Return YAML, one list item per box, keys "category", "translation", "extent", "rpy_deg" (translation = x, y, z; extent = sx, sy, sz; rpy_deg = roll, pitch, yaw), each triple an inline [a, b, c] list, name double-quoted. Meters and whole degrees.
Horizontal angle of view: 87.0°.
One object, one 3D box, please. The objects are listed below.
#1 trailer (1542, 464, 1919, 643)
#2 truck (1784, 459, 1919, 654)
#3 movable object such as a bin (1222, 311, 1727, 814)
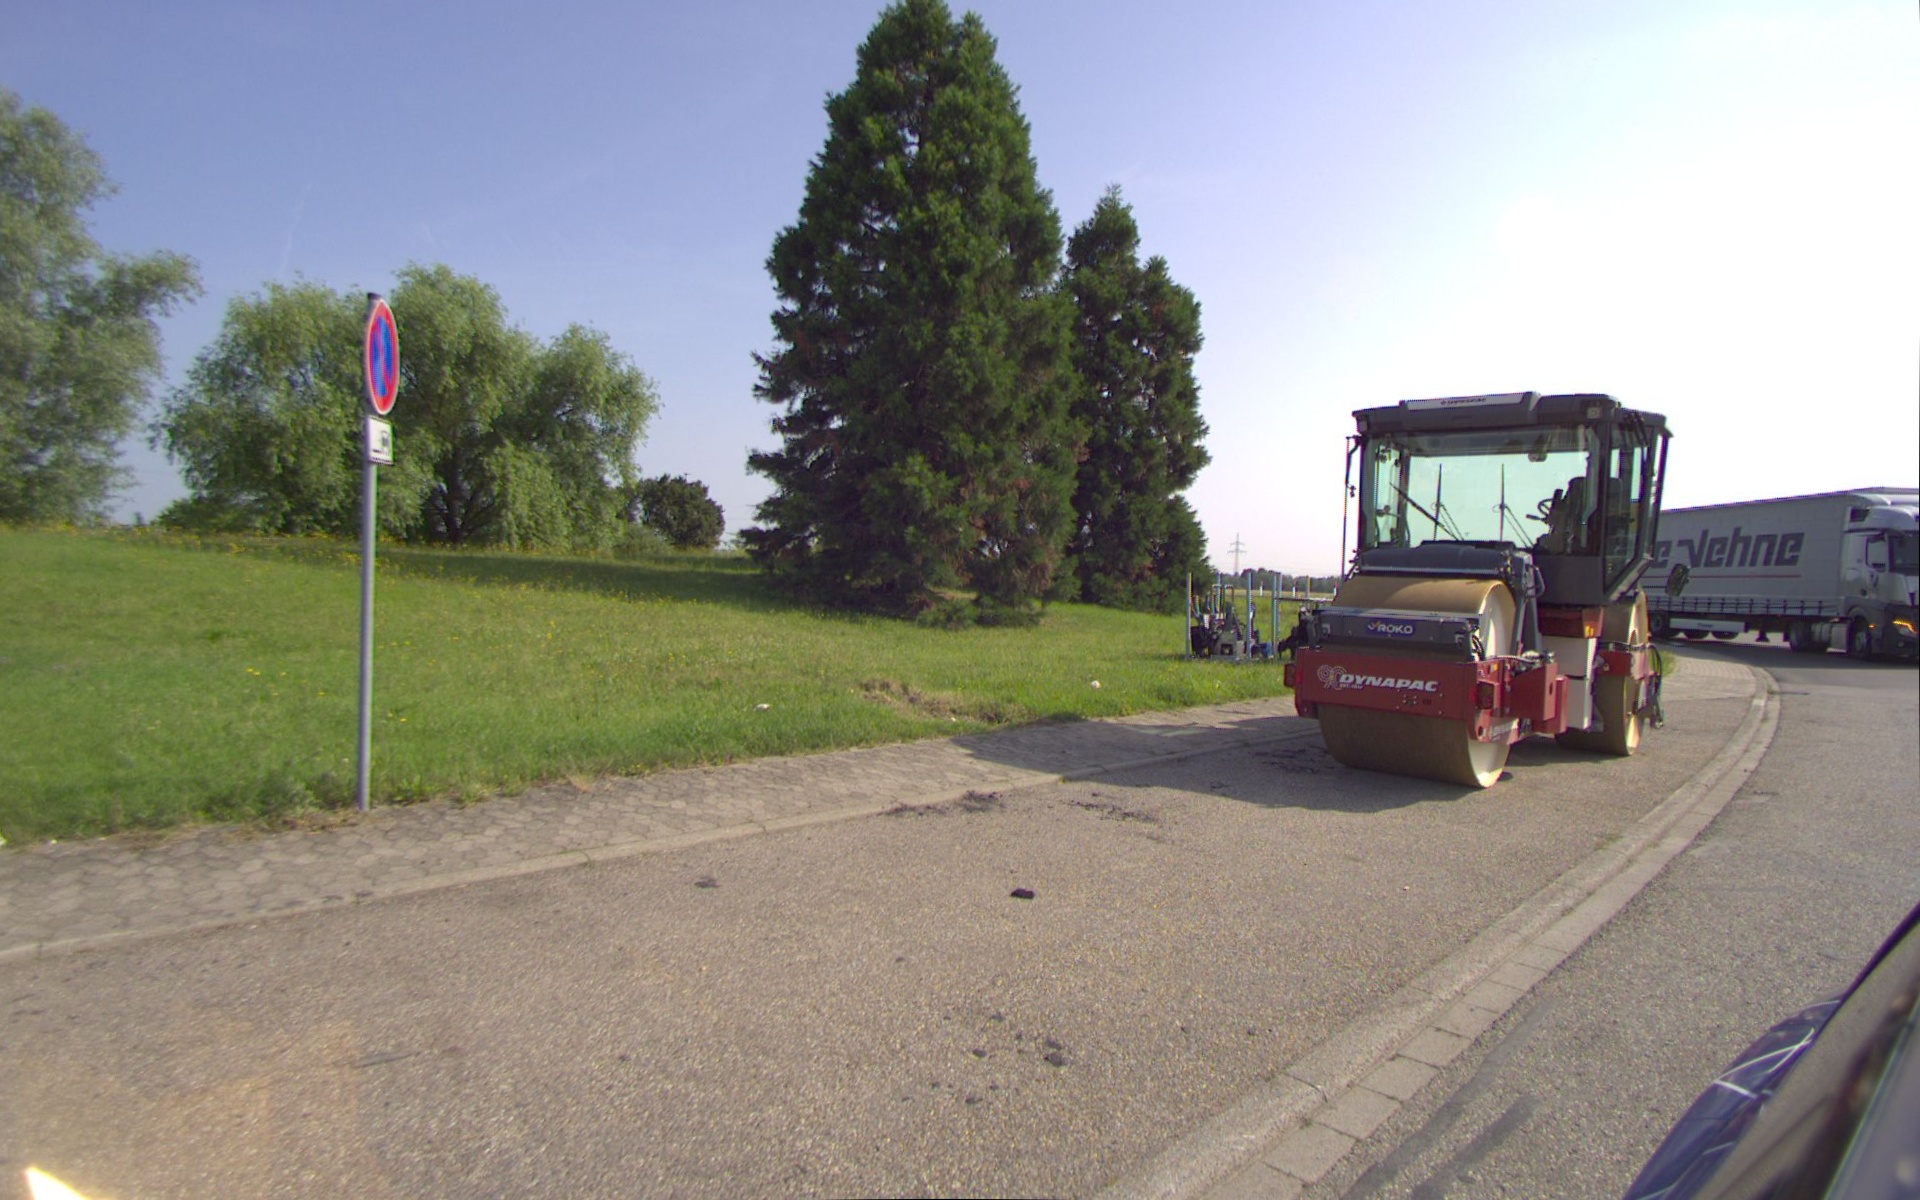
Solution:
- category: "trailer"
  translation: [23.791, -1.200, 31.187]
  extent: [3.434, 4.260, 14.234]
  rpy_deg: [0, 1, 0]
- category: "truck"
  translation: [23.152, -0.992, 24.374]
  extent: [3.357, 4.260, 6.056]
  rpy_deg: [0, 0, 21]
- category: "movable object such as a bin"
  translation: [4.894, -0.306, 9.049]
  extent: [2.429, 3.048, 5.664]
  rpy_deg: [4, 3, 43]
